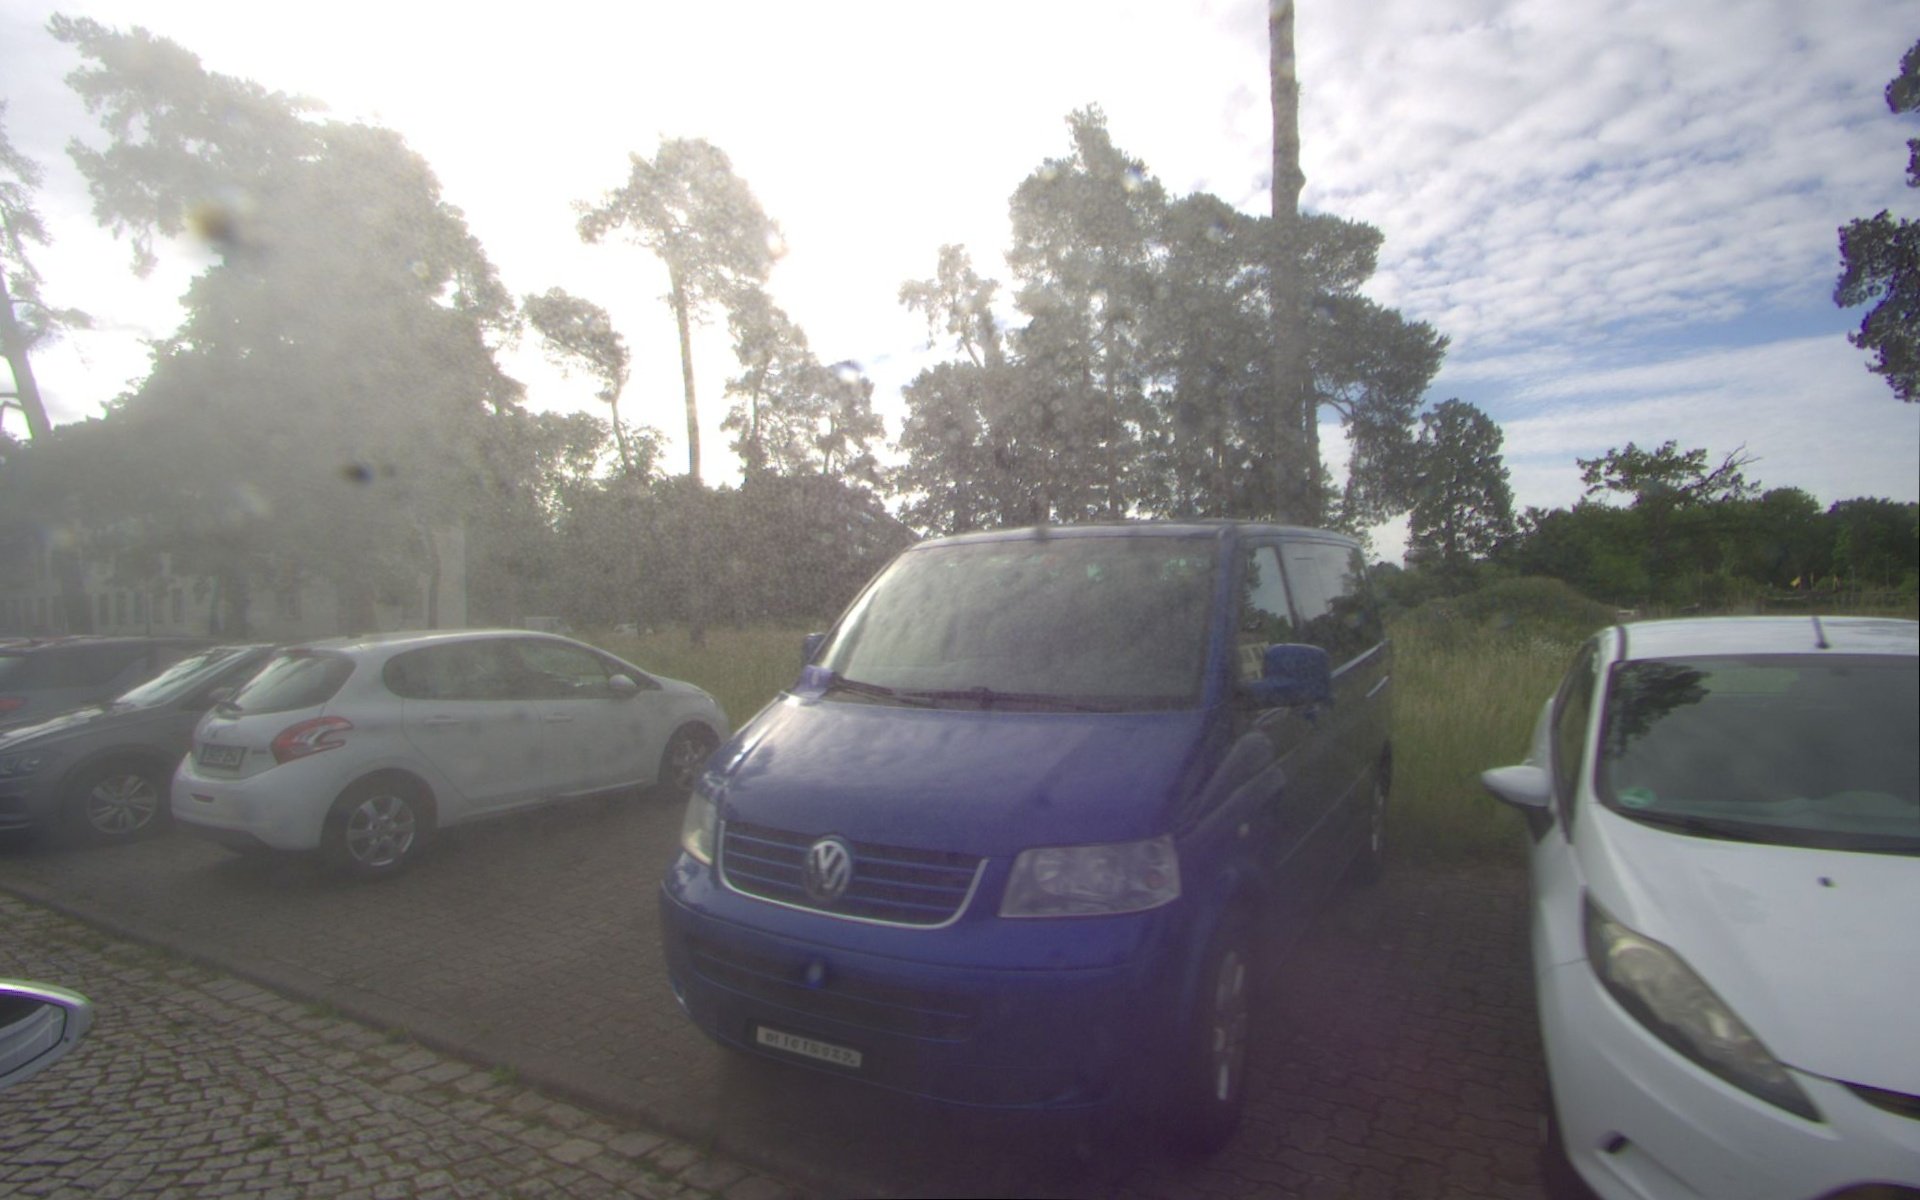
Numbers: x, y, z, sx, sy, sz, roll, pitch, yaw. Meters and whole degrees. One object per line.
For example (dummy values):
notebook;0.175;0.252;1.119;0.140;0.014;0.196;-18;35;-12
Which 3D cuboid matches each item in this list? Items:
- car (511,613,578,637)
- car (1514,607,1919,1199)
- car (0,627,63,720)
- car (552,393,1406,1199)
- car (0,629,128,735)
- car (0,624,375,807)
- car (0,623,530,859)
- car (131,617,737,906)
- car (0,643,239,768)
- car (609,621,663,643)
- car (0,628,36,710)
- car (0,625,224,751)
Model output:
car;-36.911;2.246;89.018;2.076;2.045;5.292;-1;-2;32
car;2.896;0.816;3.400;1.695;1.498;4.093;-1;0;28
car;-17.002;1.247;15.570;1.680;1.499;4.232;-1;0;21
car;0.782;0.586;4.657;1.936;2.030;4.789;-1;0;29
car;-14.689;1.213;14.126;1.726;1.456;4.185;-1;0;24
car;-8.415;1.067;10.544;1.717;1.507;3.499;-1;0;31
car;-6.164;0.999;8.805;1.740;1.466;4.122;-1;0;31
car;-3.604;0.928;7.510;1.740;1.498;3.647;-1;0;31
car;-10.785;1.205;11.621;1.605;1.239;3.579;-1;0;32
car;-27.298;2.719;84.475;1.873;1.826;4.125;-1;-2;33
car;-18.937;1.291;17.234;1.607;1.483;4.133;-1;0;26
car;-12.495;1.145;13.259;1.659;1.496;4.099;-1;0;29
